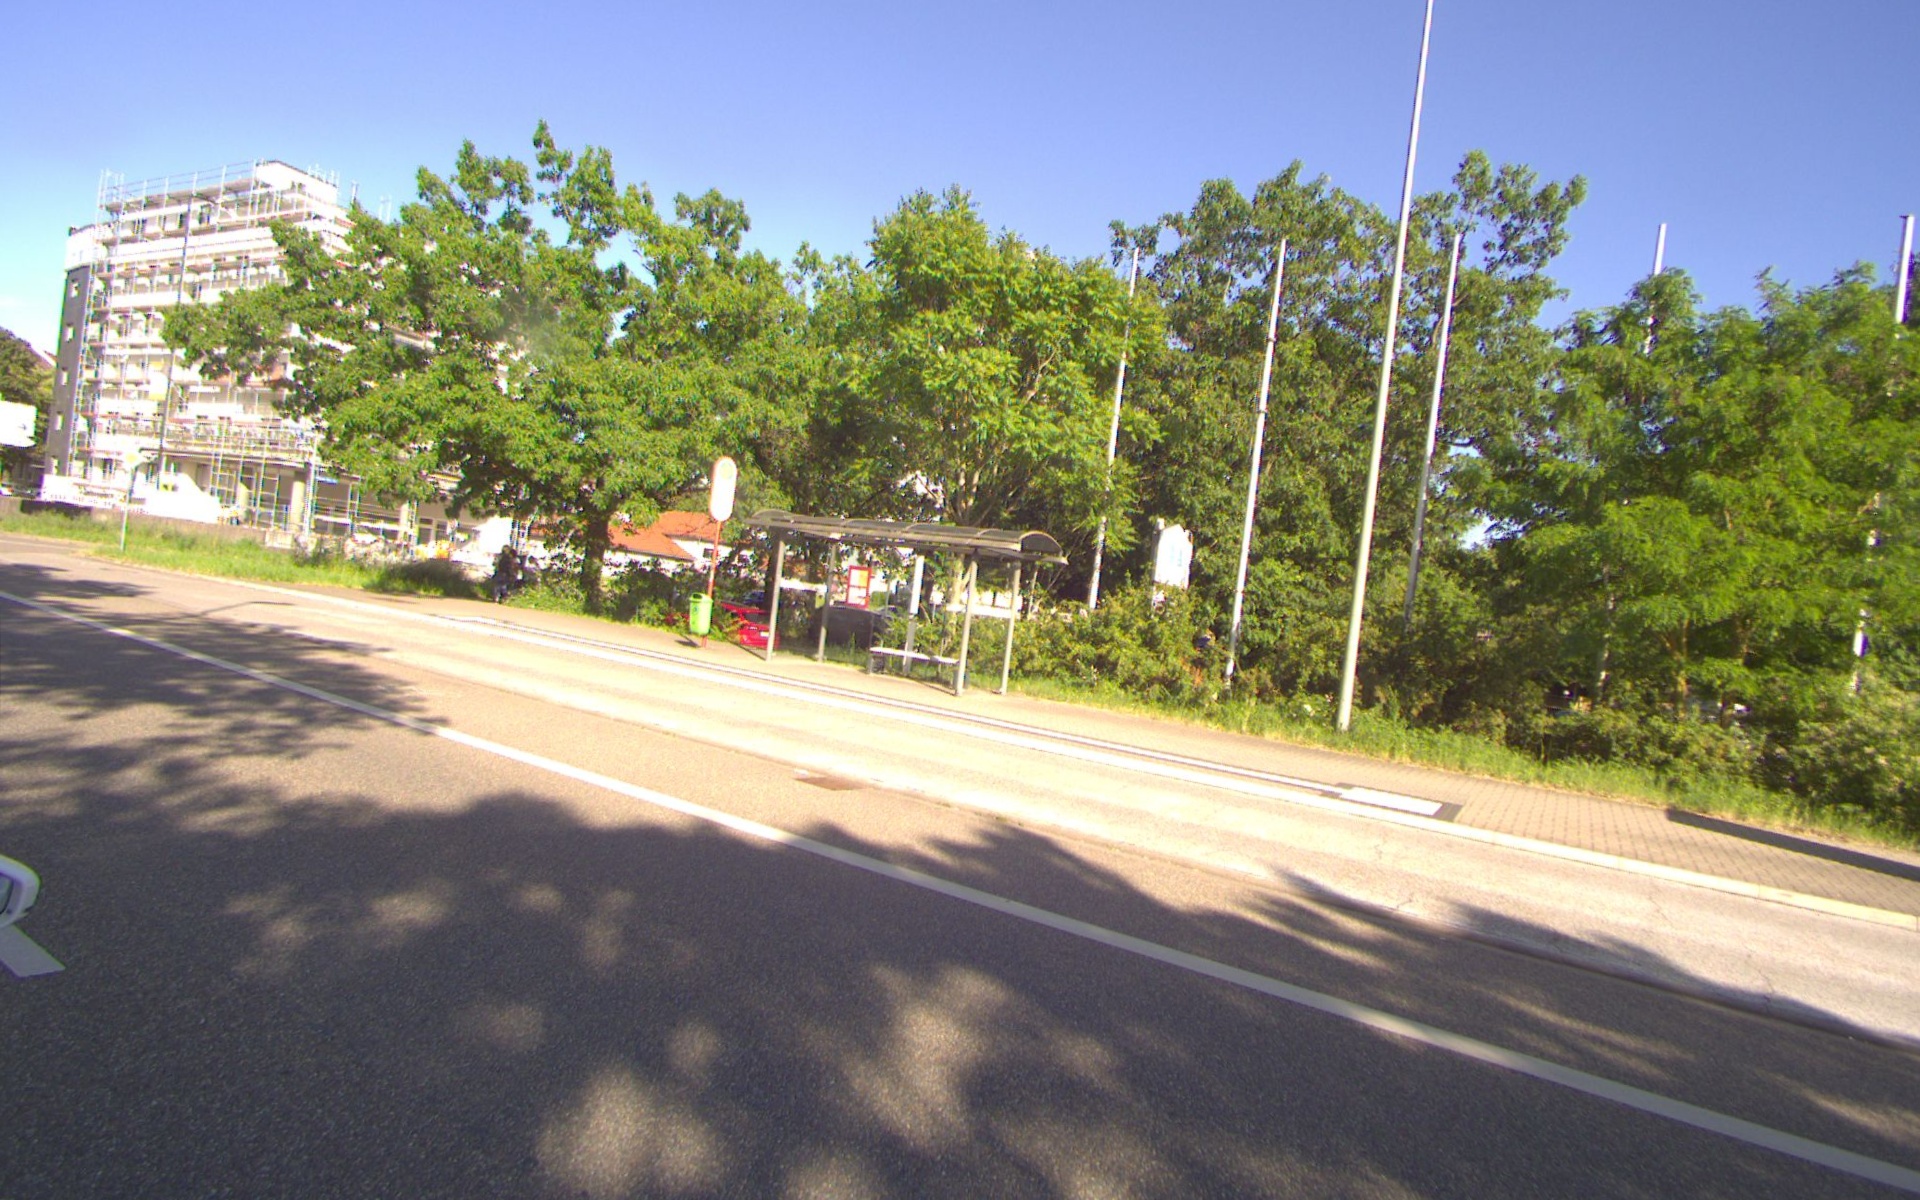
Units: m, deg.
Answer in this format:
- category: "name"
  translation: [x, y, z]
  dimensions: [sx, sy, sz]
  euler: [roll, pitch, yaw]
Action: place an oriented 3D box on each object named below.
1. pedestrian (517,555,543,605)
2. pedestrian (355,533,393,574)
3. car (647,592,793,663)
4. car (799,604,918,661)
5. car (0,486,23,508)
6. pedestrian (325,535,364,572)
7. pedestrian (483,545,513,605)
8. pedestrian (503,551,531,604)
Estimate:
- category: "pedestrian"
  translation: [-13.401, -0.634, 31.327]
  dimensions: [0.517, 1.465, 0.587]
  euler: [7, 1, -32]
- category: "pedestrian"
  translation: [-26.211, -2.082, 45.000]
  dimensions: [0.969, 1.674, 0.892]
  euler: [7, 0, 8]
- category: "car"
  translation: [-6.873, 0.792, 28.745]
  dimensions: [3.680, 1.504, 1.755]
  euler: [7, 0, 28]
- category: "car"
  translation: [-3.585, 1.174, 35.978]
  dimensions: [3.674, 1.504, 1.914]
  euler: [7, 0, 13]
- category: "car"
  translation: [-66.612, -7.216, 70.156]
  dimensions: [1.521, 1.330, 3.250]
  euler: [7, 0, -40]
- category: "pedestrian"
  translation: [-26.908, -2.034, 43.989]
  dimensions: [0.948, 1.465, 0.895]
  euler: [7, 0, 17]
- category: "pedestrian"
  translation: [-13.034, -0.706, 28.382]
  dimensions: [0.517, 1.632, 0.587]
  euler: [7, 1, -32]
- category: "pedestrian"
  translation: [-12.756, -0.651, 28.973]
  dimensions: [0.517, 1.465, 0.587]
  euler: [7, 1, -32]
